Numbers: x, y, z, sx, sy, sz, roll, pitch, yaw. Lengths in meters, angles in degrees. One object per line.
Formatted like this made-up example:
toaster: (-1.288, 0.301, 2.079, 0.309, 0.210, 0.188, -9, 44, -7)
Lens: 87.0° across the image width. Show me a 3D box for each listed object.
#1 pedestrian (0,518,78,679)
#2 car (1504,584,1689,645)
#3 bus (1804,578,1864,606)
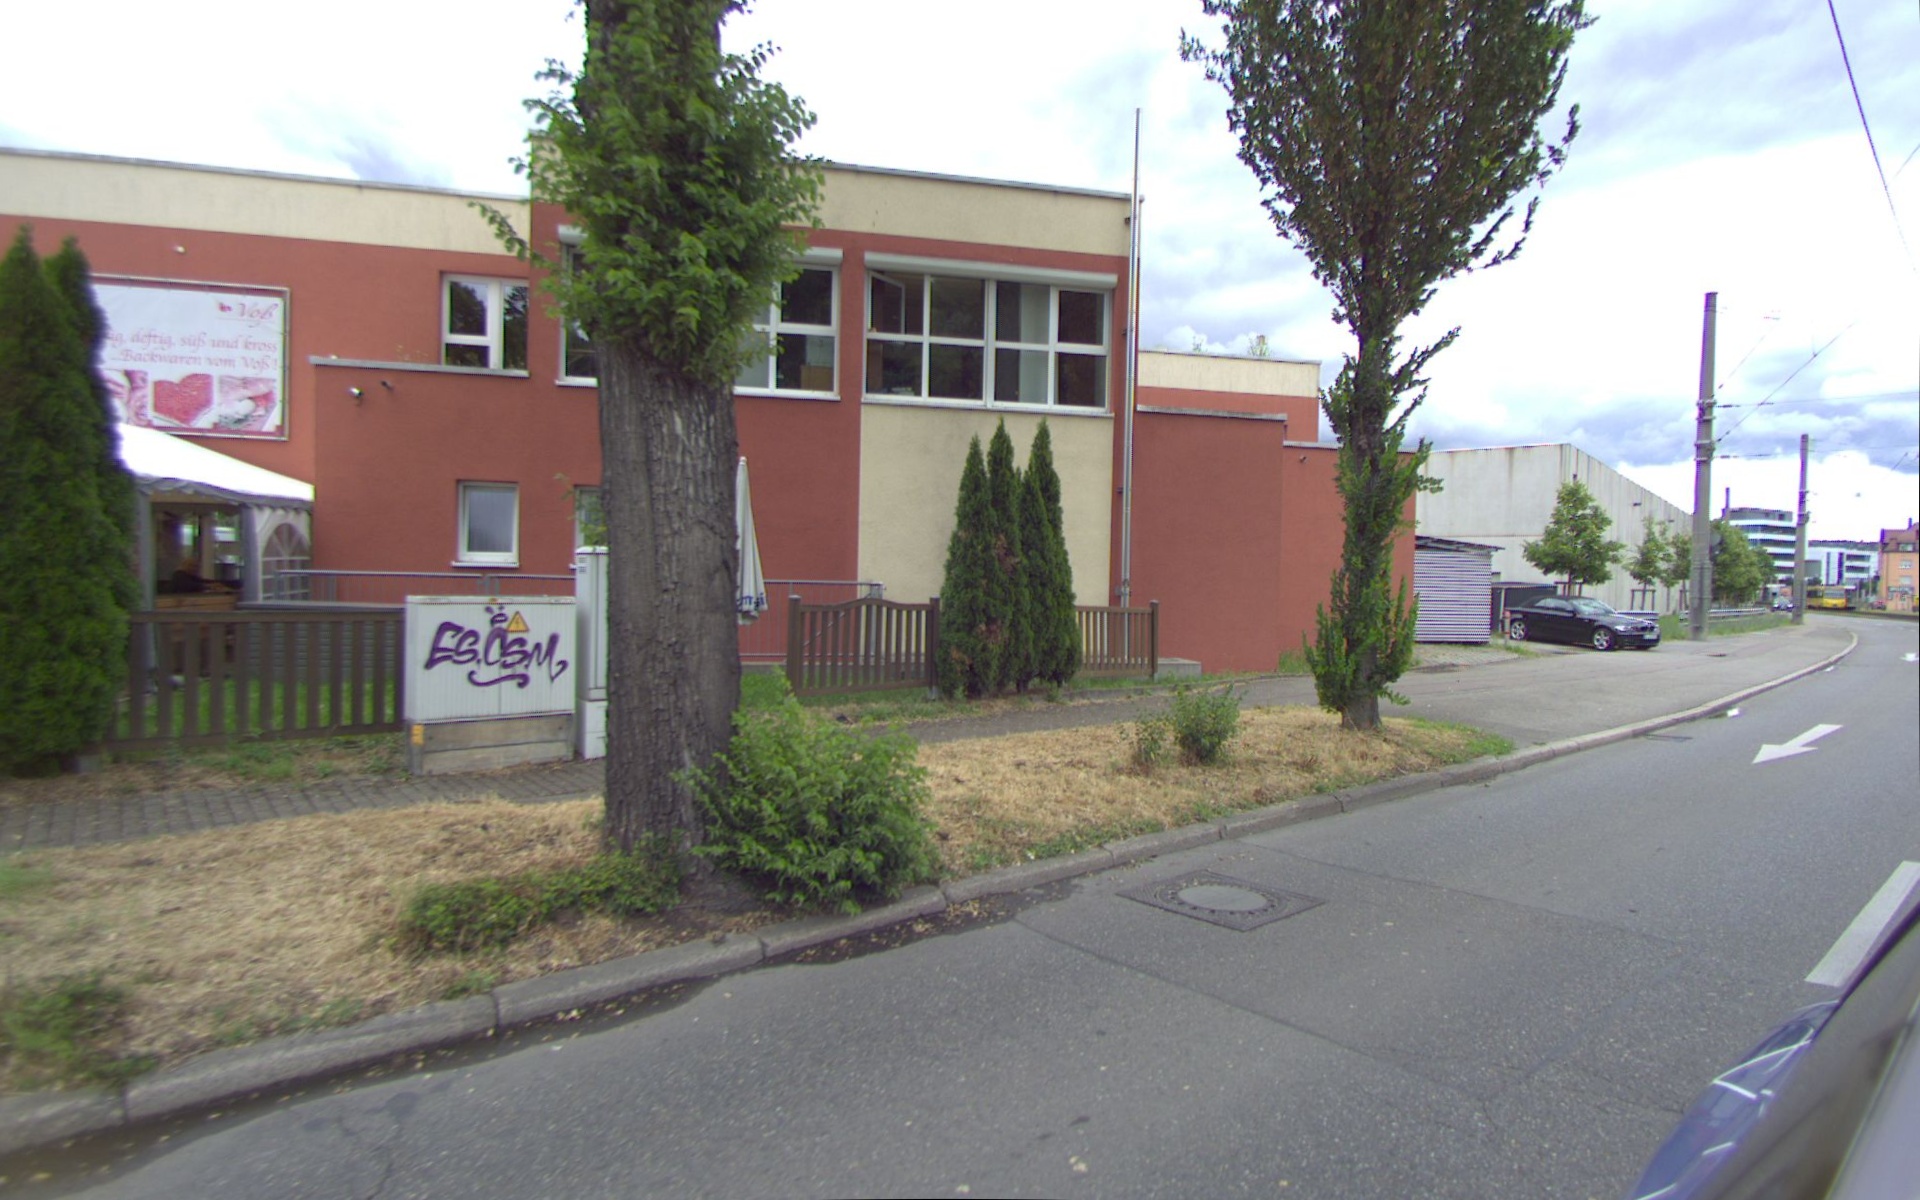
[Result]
pedestrian: (-9.260, -0.026, 9.836, 0.755, 1.509, 0.706, 1, 0, -4)
car: (17.777, 0.354, 28.538, 1.726, 1.460, 4.244, 1, 2, -18)
bus: (129.960, -1.254, 150.696, 3.520, 4.002, 10.417, 0, 1, 22)
